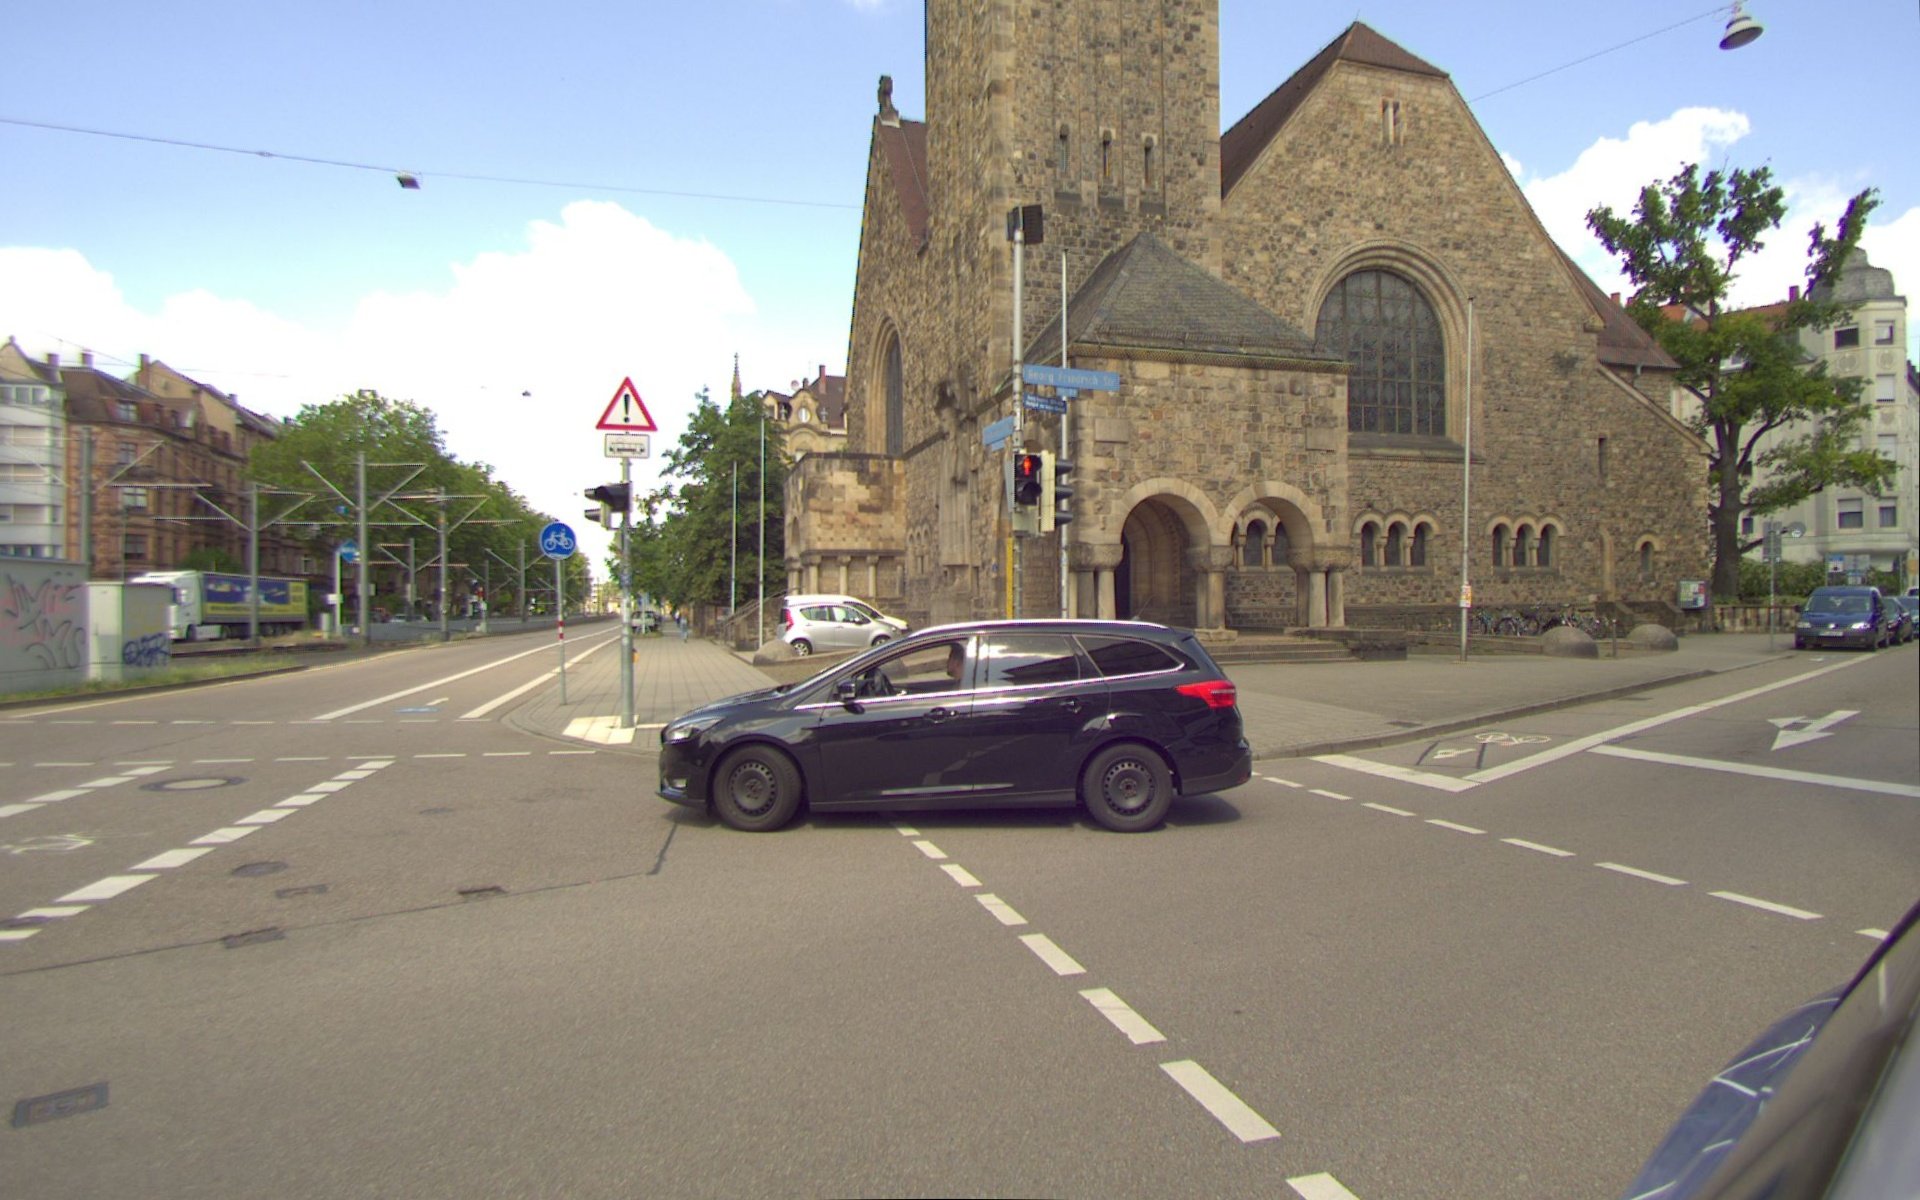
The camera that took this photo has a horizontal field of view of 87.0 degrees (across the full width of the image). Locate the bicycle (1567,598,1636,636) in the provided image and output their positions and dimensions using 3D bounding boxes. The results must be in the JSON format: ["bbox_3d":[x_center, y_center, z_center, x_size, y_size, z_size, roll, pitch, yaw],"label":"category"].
[{"bbox_3d":[20.859,0.539,32.958,0.574,1.126,1.944,-1,3,-20],"label":"bicycle"}]

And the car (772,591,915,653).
[{"bbox_3d":[-3.713,0.718,32.121,4.214,1.878,2.003,1,-2,-17],"label":"car"}]

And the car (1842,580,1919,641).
[{"bbox_3d":[29.684,0.319,32.332,3.929,1.814,1.682,0,-1,-40],"label":"car"}]

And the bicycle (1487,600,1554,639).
[{"bbox_3d":[17.707,0.599,32.027,0.574,1.126,1.944,-1,3,-20],"label":"bicycle"}]

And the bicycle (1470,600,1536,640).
[{"bbox_3d":[17.040,0.612,31.808,0.574,1.126,1.944,-1,3,-20],"label":"bicycle"}]

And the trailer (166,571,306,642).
[{"bbox_3d":[-46.696,0.391,65.819,2.857,4.129,11.671,-1,0,-12],"label":"trailer"}]

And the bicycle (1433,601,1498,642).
[{"bbox_3d":[15.591,0.640,31.275,0.574,1.126,1.944,-1,3,-20],"label":"bicycle"}]

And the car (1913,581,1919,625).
[{"bbox_3d":[44.692,0.108,45.749,4.112,1.963,1.843,0,-1,-40],"label":"car"}]

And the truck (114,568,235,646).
[{"bbox_3d":[-45.240,0.398,58.543,2.857,4.202,6.602,-1,0,-11],"label":"truck"}]

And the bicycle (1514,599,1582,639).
[{"bbox_3d":[18.678,0.581,32.195,0.574,1.126,1.944,-1,3,-20],"label":"bicycle"}]

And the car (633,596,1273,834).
[{"bbox_3d":[-0.067,0.798,7.733,4.302,1.554,1.784,-1,-2,-1],"label":"car"}]

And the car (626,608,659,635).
[{"bbox_3d":[-18.836,1.263,60.221,1.752,1.514,3.844,-1,-1,-16],"label":"car"}]

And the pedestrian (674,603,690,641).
[{"bbox_3d":[-12.506,0.988,45.501,0.645,1.686,0.847,0,-1,-14],"label":"pedestrian"}]

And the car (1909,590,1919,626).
[{"bbox_3d":[41.598,0.315,42.803,3.822,1.515,1.682,0,-1,-40],"label":"car"}]

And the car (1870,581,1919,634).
[{"bbox_3d":[34.127,0.238,36.284,3.929,1.814,1.682,0,-1,-40],"label":"car"}]

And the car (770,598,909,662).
[{"bbox_3d":[-3.419,0.863,28.560,3.561,1.700,1.822,1,-3,-19],"label":"car"}]

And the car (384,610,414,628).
[{"bbox_3d":[-56.422,1.873,101.821,1.766,1.651,4.008,-1,0,-16],"label":"car"}]

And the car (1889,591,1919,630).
[{"bbox_3d":[37.673,0.402,39.434,3.731,1.465,1.682,0,-1,-40],"label":"car"}]

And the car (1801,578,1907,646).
[{"bbox_3d":[25.629,0.327,28.975,4.072,1.814,1.681,0,-1,-40],"label":"car"}]

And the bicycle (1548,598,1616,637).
[{"bbox_3d":[20.101,0.554,32.741,0.574,1.126,1.944,-1,3,-20],"label":"bicycle"}]
